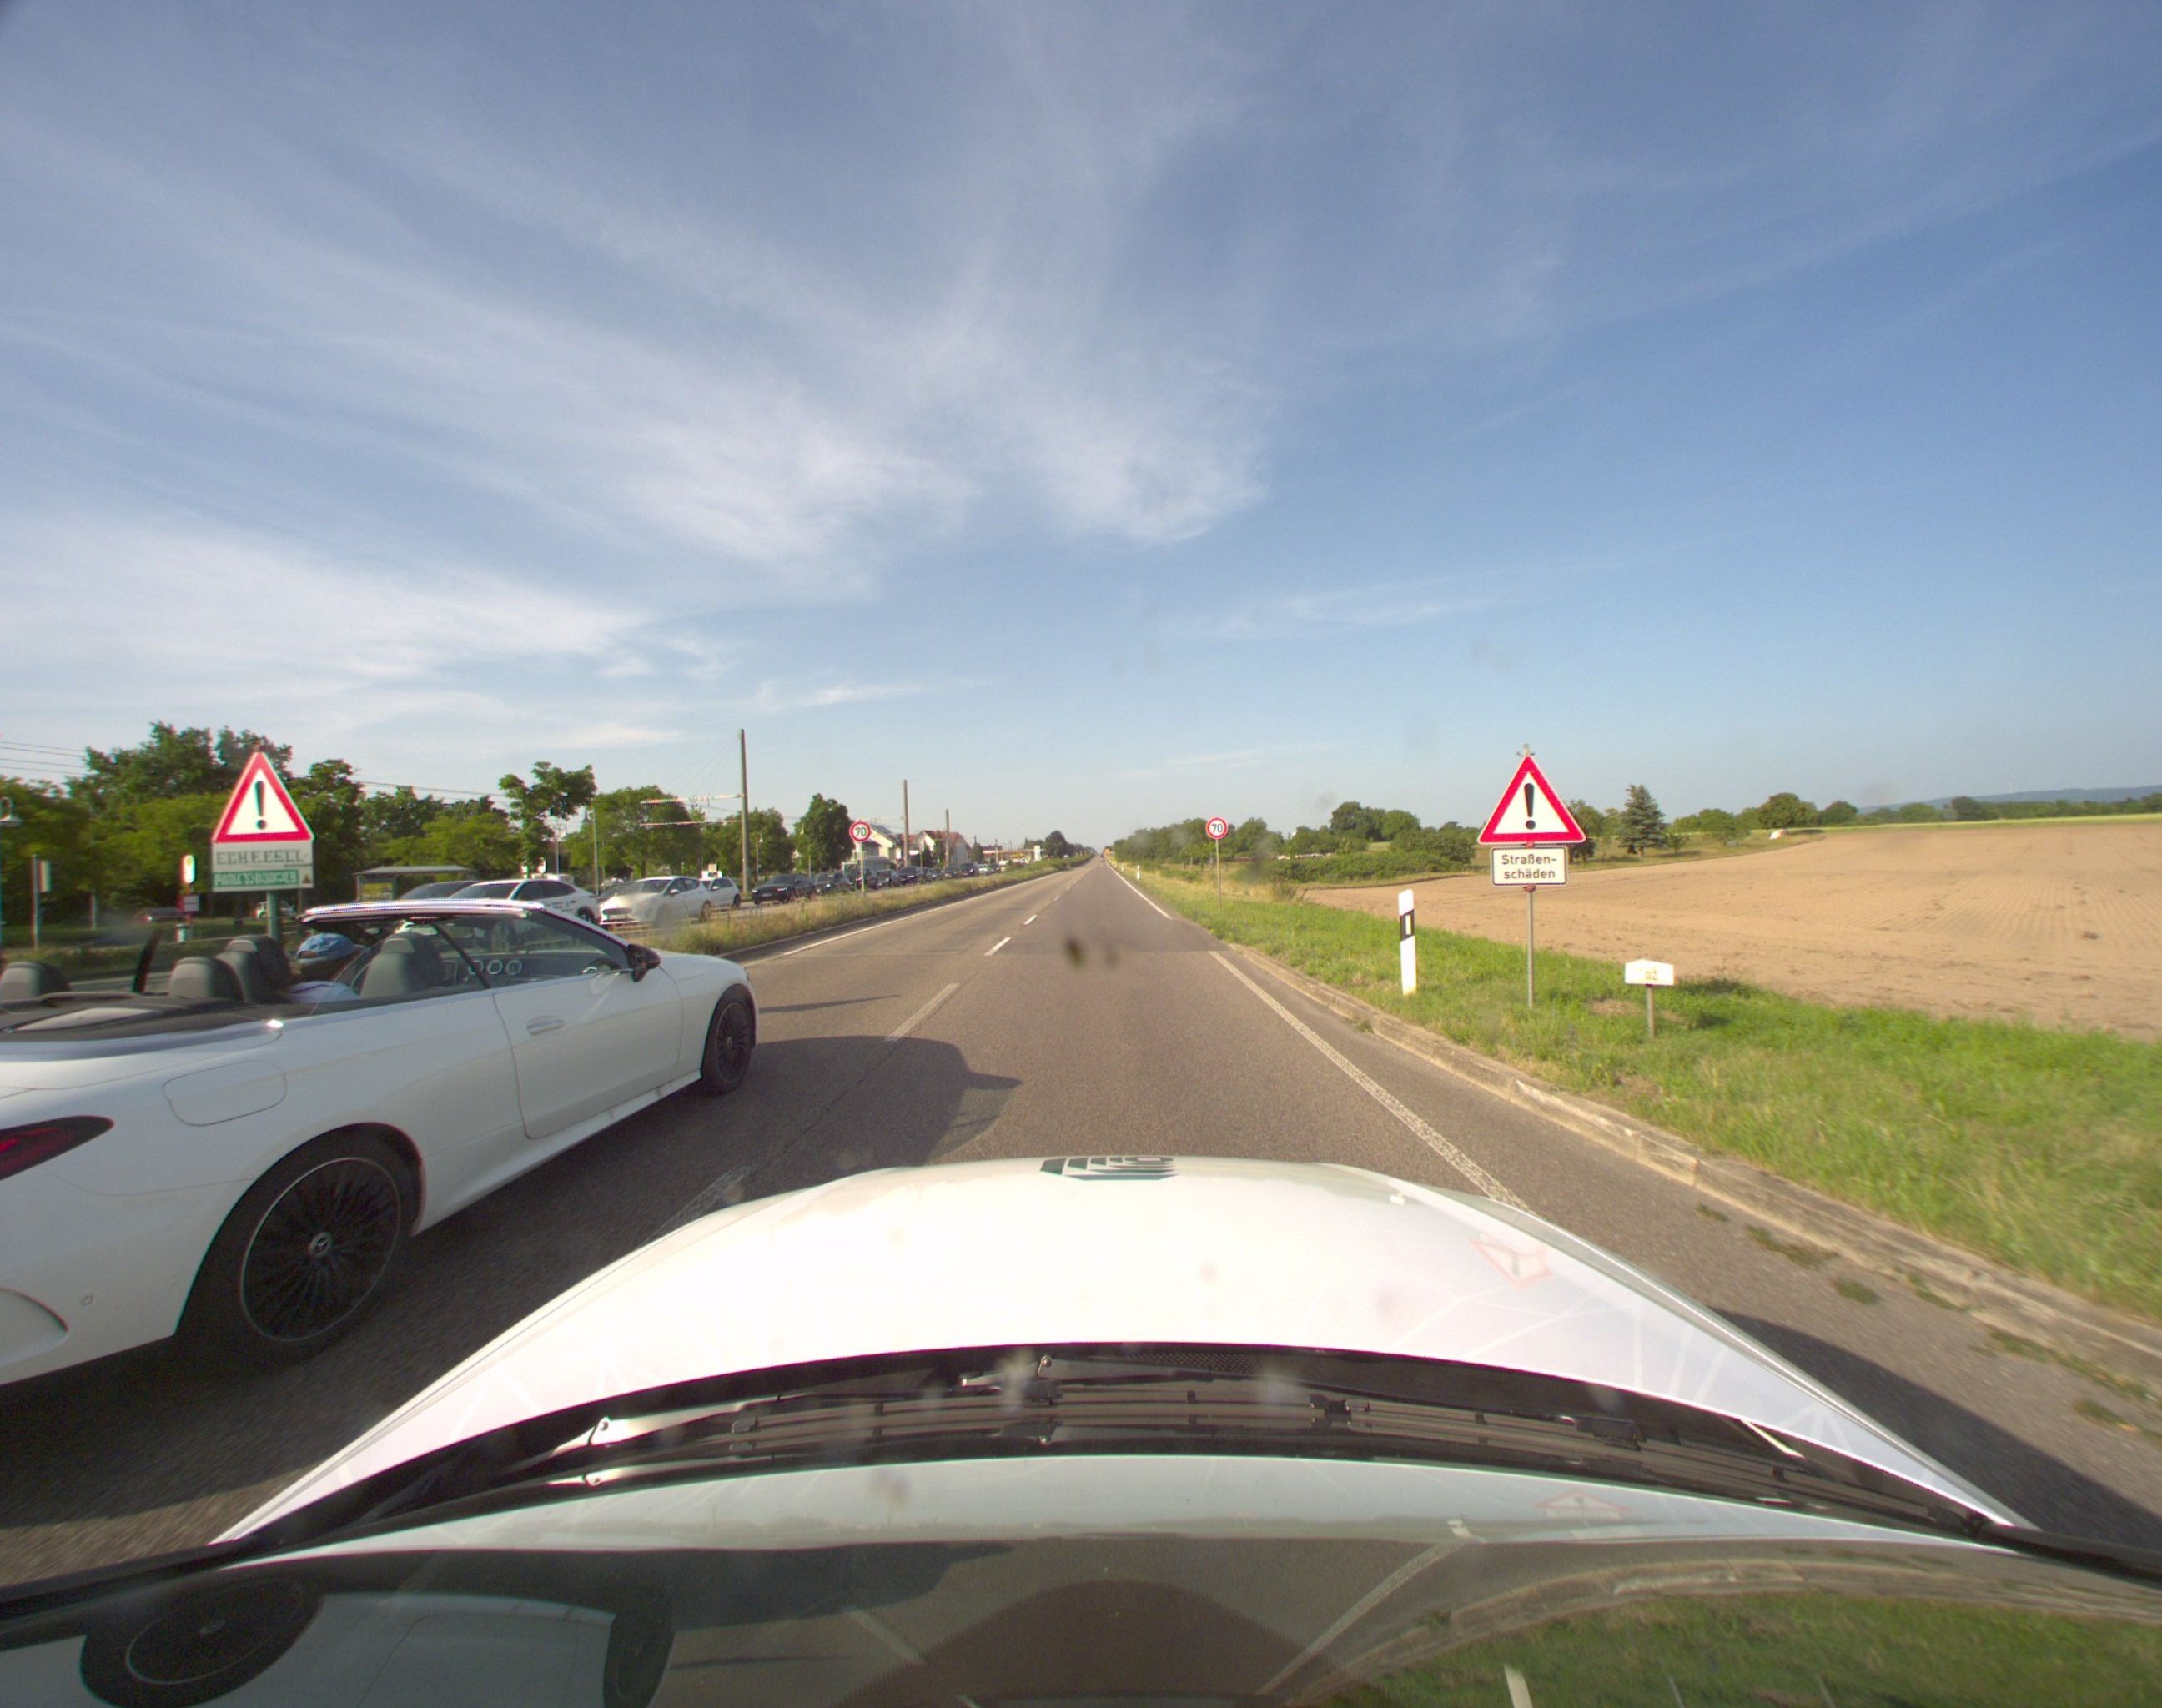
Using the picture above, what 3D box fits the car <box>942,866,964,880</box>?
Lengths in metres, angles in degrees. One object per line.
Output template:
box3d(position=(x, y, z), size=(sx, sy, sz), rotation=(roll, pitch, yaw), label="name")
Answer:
box3d(position=(-14.119, 2.067, 90.026), size=(1.654, 1.431, 4.057), rotation=(-4, -1, 1), label="car")

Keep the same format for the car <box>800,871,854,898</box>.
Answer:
box3d(position=(-15.081, 1.794, 48.575), size=(1.654, 1.381, 4.542), rotation=(-4, -1, 1), label="car")

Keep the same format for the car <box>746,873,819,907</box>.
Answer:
box3d(position=(-15.028, 1.773, 41.269), size=(1.654, 1.415, 4.976), rotation=(-4, -1, 1), label="car")

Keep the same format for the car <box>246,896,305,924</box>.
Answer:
box3d(position=(-55.161, 3.800, 55.754), size=(3.948, 1.662, 2.013), rotation=(-1, -1, 32), label="car")

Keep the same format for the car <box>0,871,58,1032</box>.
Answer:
box3d(position=(-12.769, 1.115, 7.091), size=(1.851, 1.745, 4.531), rotation=(-4, -1, 2), label="car")

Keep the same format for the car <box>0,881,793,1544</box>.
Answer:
box3d(position=(-3.182, 0.861, 3.819), size=(1.764, 1.337, 4.952), rotation=(0, 0, 2), label="car")

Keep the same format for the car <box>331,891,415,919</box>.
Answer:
box3d(position=(-45.742, 3.264, 52.662), size=(3.963, 1.662, 2.005), rotation=(-1, -1, 9), label="car")

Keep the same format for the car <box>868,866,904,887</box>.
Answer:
box3d(position=(-14.931, 1.715, 62.416), size=(1.654, 1.431, 3.806), rotation=(-4, -1, 1), label="car")

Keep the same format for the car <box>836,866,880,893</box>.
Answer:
box3d(position=(-15.279, 1.728, 56.029), size=(1.654, 1.687, 4.230), rotation=(-4, -1, 1), label="car")

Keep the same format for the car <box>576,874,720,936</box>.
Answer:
box3d(position=(-12.688, 1.441, 24.225), size=(1.812, 1.470, 4.296), rotation=(-4, -1, 2), label="car")

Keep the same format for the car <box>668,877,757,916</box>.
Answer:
box3d(position=(-15.748, 1.780, 35.057), size=(1.654, 1.381, 4.469), rotation=(-4, -1, 1), label="car")

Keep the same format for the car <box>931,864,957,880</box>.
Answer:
box3d(position=(-13.821, 1.766, 82.392), size=(1.654, 1.431, 4.718), rotation=(-4, -1, 1), label="car")

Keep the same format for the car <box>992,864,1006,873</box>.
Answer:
box3d(position=(-13.770, 2.460, 137.107), size=(1.654, 1.431, 4.327), rotation=(-4, -1, 1), label="car")

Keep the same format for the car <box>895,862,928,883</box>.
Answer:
box3d(position=(-14.298, 1.542, 68.787), size=(1.654, 1.562, 4.547), rotation=(-4, -1, 1), label="car")

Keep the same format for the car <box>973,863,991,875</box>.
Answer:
box3d(position=(-13.535, 2.074, 111.722), size=(1.654, 1.431, 4.449), rotation=(-4, -1, 1), label="car")

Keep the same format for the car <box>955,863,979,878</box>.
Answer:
box3d(position=(-14.052, 2.014, 100.586), size=(1.908, 1.683, 5.255), rotation=(-4, -1, 1), label="car")

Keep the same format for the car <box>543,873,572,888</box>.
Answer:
box3d(position=(-60.841, 3.088, 94.611), size=(3.575, 1.366, 1.746), rotation=(-5, -1, 38), label="car")

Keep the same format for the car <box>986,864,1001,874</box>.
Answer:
box3d(position=(-13.477, 2.260, 125.216), size=(1.654, 1.431, 4.327), rotation=(-4, -1, 1), label="car")

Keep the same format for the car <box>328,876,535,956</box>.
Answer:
box3d(position=(-15.848, 1.445, 20.183), size=(1.790, 1.590, 4.001), rotation=(-4, -1, 1), label="car")

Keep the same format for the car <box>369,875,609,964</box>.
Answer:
box3d(position=(-12.710, 1.315, 17.947), size=(1.745, 1.507, 4.585), rotation=(-4, -1, 2), label="car")
